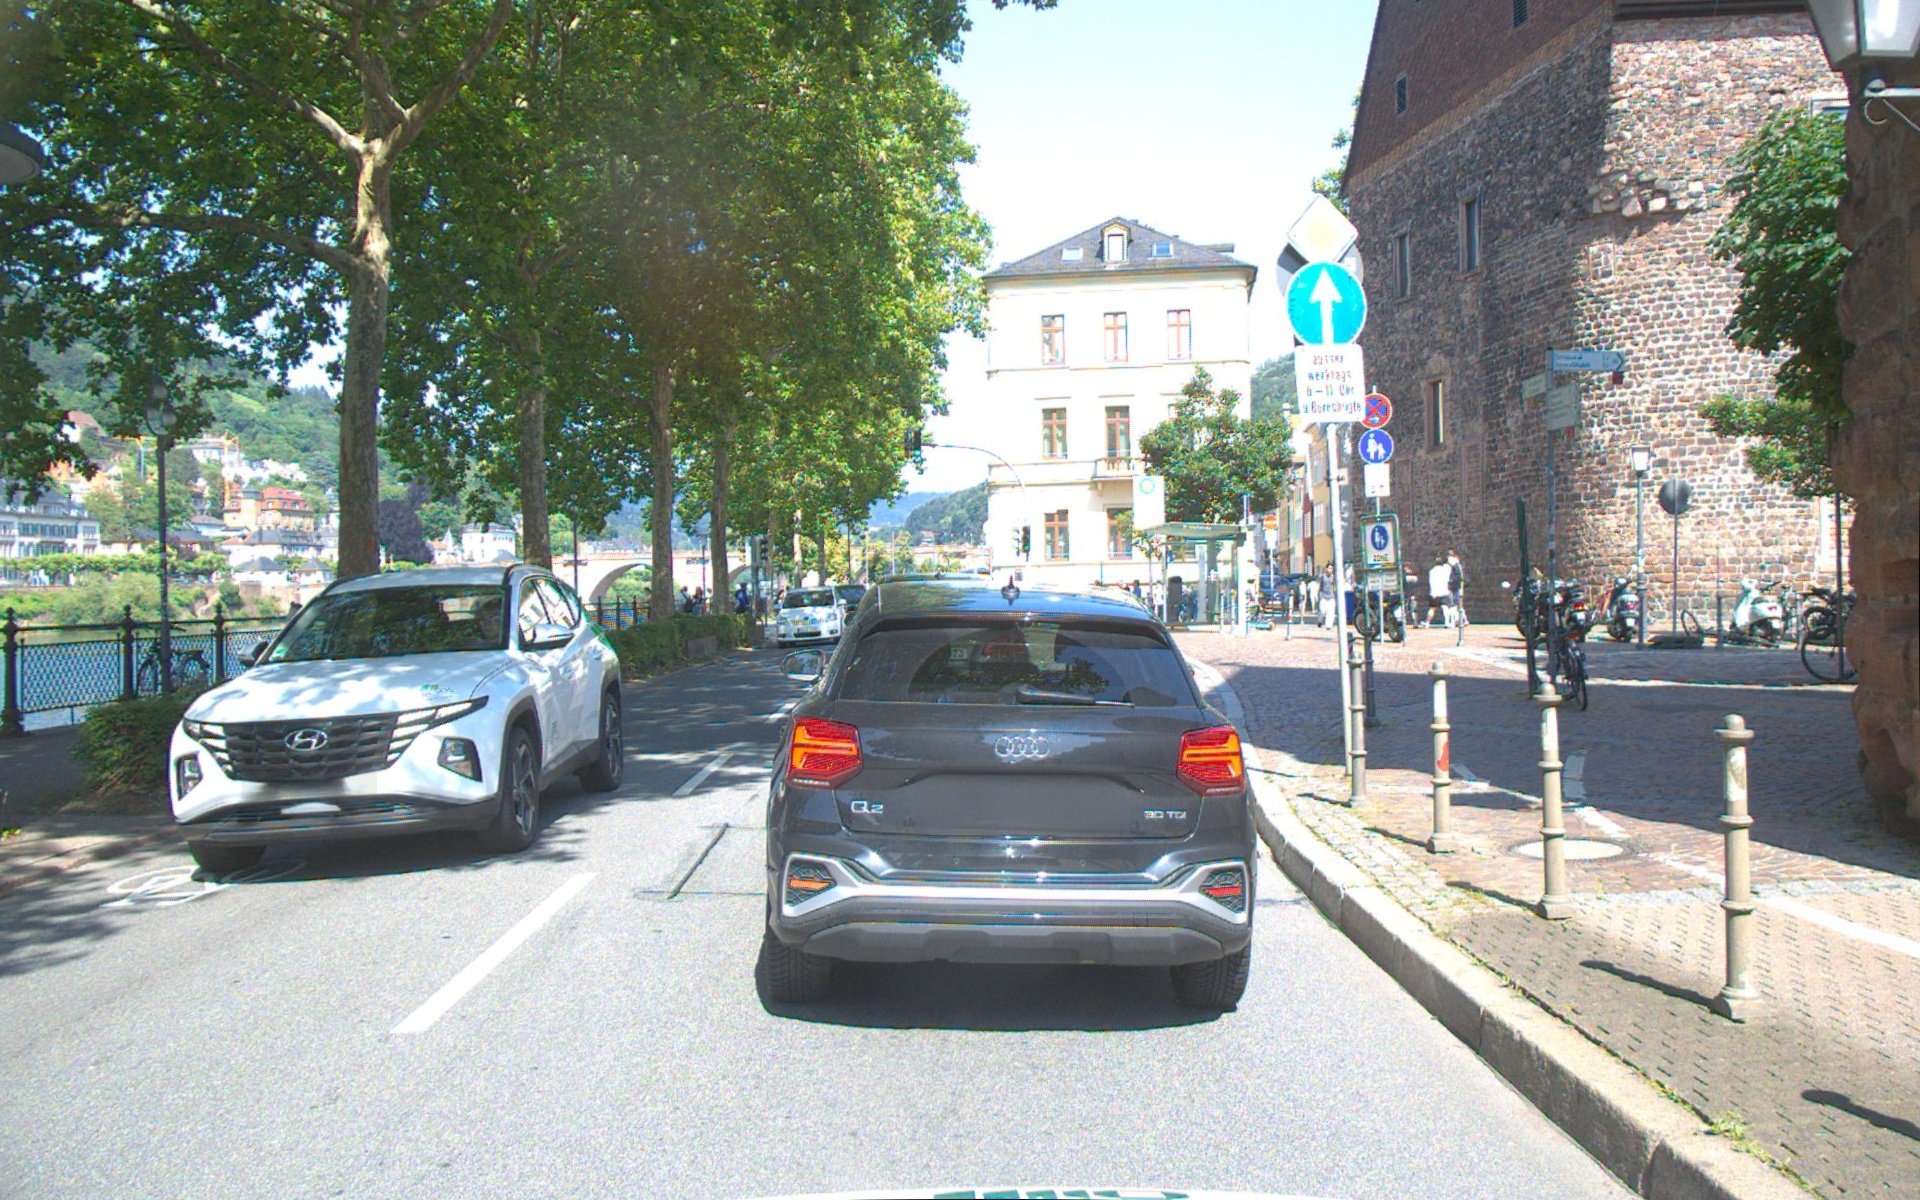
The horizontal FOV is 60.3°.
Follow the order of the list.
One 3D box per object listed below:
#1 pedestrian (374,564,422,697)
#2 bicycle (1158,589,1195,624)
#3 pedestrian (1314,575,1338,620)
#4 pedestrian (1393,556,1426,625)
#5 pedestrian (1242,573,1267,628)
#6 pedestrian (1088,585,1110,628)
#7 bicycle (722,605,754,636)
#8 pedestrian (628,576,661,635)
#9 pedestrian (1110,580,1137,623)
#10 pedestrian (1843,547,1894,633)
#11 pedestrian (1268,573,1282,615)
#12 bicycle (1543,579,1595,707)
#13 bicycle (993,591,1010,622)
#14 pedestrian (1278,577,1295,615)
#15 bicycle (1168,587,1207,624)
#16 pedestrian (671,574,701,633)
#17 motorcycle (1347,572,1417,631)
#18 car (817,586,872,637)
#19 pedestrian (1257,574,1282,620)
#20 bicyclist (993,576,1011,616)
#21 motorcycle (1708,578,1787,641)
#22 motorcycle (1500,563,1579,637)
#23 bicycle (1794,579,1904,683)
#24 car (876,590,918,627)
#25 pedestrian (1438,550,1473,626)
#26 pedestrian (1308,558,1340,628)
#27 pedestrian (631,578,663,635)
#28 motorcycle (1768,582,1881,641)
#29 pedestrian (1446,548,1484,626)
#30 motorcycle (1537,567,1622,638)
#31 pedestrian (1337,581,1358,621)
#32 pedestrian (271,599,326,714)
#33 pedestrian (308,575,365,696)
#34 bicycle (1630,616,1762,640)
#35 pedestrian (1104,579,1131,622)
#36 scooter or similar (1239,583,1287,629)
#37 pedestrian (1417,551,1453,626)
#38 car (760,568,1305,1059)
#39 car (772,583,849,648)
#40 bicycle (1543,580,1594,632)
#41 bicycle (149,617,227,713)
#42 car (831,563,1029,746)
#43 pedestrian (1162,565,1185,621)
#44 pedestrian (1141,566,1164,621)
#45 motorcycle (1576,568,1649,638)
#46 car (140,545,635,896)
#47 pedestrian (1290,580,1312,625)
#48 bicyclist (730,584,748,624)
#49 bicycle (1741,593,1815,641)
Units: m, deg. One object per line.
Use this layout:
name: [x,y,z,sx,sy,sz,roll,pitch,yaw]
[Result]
pedestrian: [-8.226,0.445,24.205,0.523,1.920,0.436,1,0,-1]
bicycle: [6.507,0.193,49.690,1.166,1.033,0.178,1,-1,-20]
pedestrian: [16.782,-0.101,75.847,0.921,2.049,0.807,1,-1,-1]
pedestrian: [11.986,-0.255,44.121,0.639,1.834,0.847,0,0,-2]
pedestrian: [7.610,0.017,42.738,0.546,1.409,0.588,1,-1,1]
pedestrian: [4.951,0.219,59.047,0.679,1.526,0.513,1,-1,-5]
bicycle: [-7.469,0.696,55.704,1.072,1.024,0.303,1,-1,-8]
pedestrian: [-10.218,0.168,53.573,0.891,1.877,0.586,1,-1,3]
pedestrian: [4.756,0.035,48.216,0.651,1.233,0.640,1,-1,-7]
pedestrian: [18.029,-0.199,32.824,0.791,1.691,0.656,-1,0,23]
pedestrian: [12.941,-0.244,67.961,0.440,1.710,0.466,1,-1,-1]
bicycle: [6.200,0.402,16.877,0.189,1.225,1.771,0,1,10]
bicycle: [1.514,0.242,60.648,0.428,1.105,1.675,1,0,-5]
pedestrian: [13.408,-0.173,67.956,0.610,1.558,0.466,1,-1,-1]
bicycle: [6.751,0.163,49.063,1.184,1.053,0.178,1,-1,-20]
pedestrian: [-9.570,0.119,57.705,0.891,2.049,0.586,1,-1,3]
motorcycle: [7.688,0.014,30.227,0.555,1.030,2.489,-1,1,-2]
car: [-4.501,0.425,64.996,1.777,1.754,4.421,-6,1,-1]
pedestrian: [13.881,-0.119,74.258,0.925,2.049,0.807,1,-1,-1]
bicyclist: [1.538,-0.139,60.725,0.593,1.475,0.590,1,-1,-6]
motorcycle: [14.065,0.168,29.584,0.496,1.092,1.839,1,0,-1]
motorcycle: [10.543,0.003,30.166,0.642,1.288,2.199,0,0,-1]
bicycle: [10.602,0.346,19.773,0.437,1.182,1.731,-1,1,2]
car: [-3.254,0.438,85.621,1.952,1.838,4.000,1,0,1]
pedestrian: [13.010,-0.308,43.433,0.655,1.954,0.821,1,-1,-2]
pedestrian: [10.192,-0.198,46.301,0.732,1.923,0.752,1,-1,1]
pedestrian: [-10.365,0.221,54.719,0.891,1.843,0.586,1,-1,3]
motorcycle: [16.387,0.212,31.371,1.826,1.072,0.480,1,-1,7]
pedestrian: [13.529,-0.341,44.357,0.715,2.049,0.878,1,-1,-1]
motorcycle: [11.362,0.049,30.411,0.661,1.257,2.312,1,0,-1]
pedestrian: [16.446,0.032,70.246,0.677,1.640,0.891,-2,1,24]
pedestrian: [-8.122,0.689,20.309,0.469,1.386,0.417,1,0,3]
pedestrian: [-9.032,0.510,23.973,0.589,1.715,0.583,-1,0,-2]
bicycle: [12.322,0.469,27.760,1.887,0.388,0.918,0,-1,14]
pedestrian: [4.668,0.012,48.973,0.651,1.253,0.640,1,-1,-7]
scooter or similar: [7.234,0.143,39.460,1.067,1.084,0.323,1,-1,-3]
pedestrian: [12.317,-0.292,42.881,0.655,1.917,0.821,1,-1,-2]
car: [0.206,0.660,7.077,1.707,1.535,3.646,1,1,-1]
car: [-4.112,0.396,46.037,1.703,1.599,4.091,-4,1,-1]
bicycle: [14.872,0.149,40.479,0.381,1.230,1.715,1,0,-9]
bicycle: [-9.531,0.791,20.462,0.352,1.110,1.295,2,0,-2]
car: [-0.297,0.479,16.603,1.756,1.623,3.398,1,0,-1]
pedestrian: [7.873,-0.250,60.886,0.626,2.049,0.665,1,-1,29]
pedestrian: [7.166,-0.243,61.416,0.626,2.049,0.665,1,-1,29]
motorcycle: [12.245,0.056,31.112,0.535,1.257,2.030,1,0,-1]
car: [-3.356,0.608,10.566,1.733,1.689,3.999,-4,0,-1]
pedestrian: [15.638,0.115,75.789,0.822,2.049,0.738,1,-1,-1]
bicyclist: [-7.446,0.130,55.686,0.555,1.334,0.551,1,-1,-5]
bicycle: [15.126,0.293,30.623,0.346,0.835,1.926,1,1,-2]
